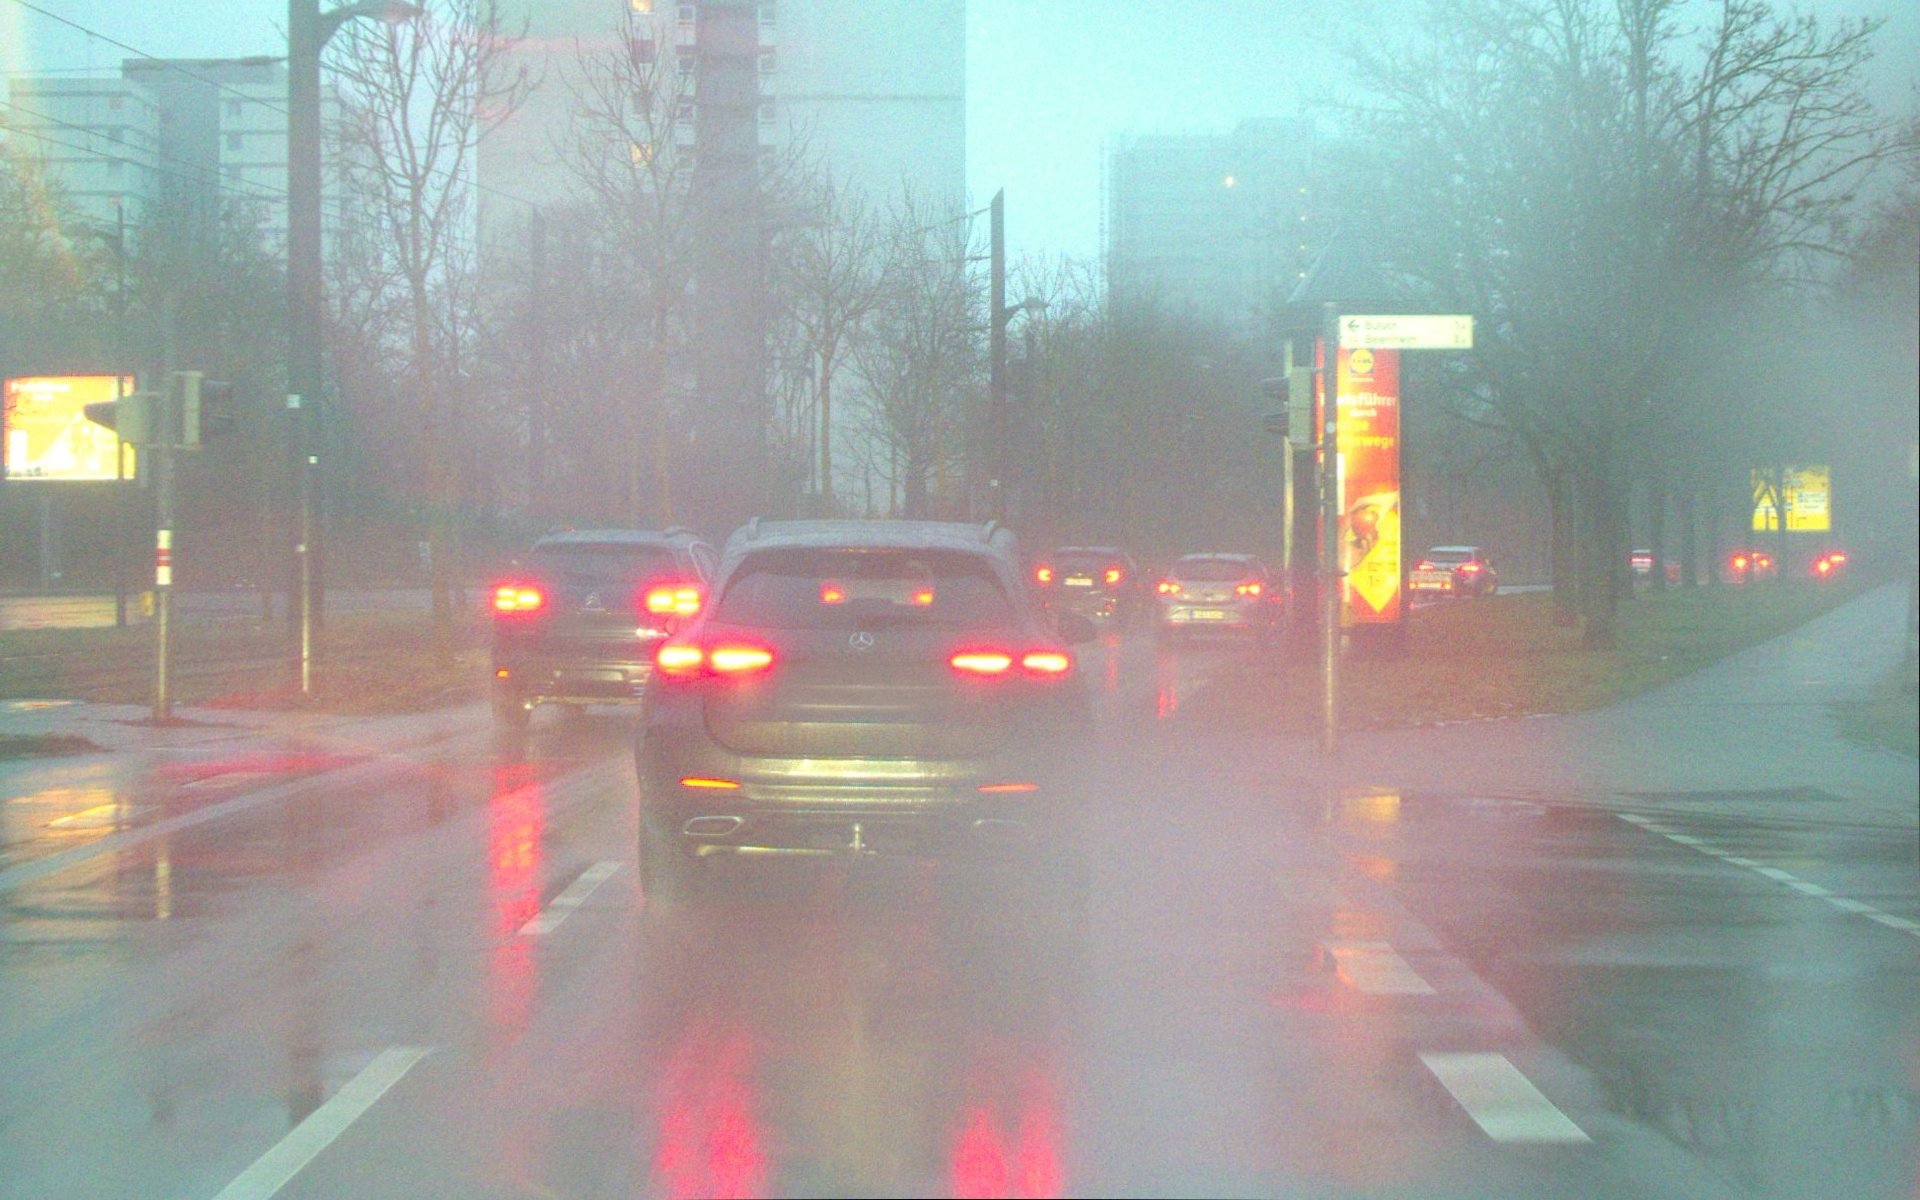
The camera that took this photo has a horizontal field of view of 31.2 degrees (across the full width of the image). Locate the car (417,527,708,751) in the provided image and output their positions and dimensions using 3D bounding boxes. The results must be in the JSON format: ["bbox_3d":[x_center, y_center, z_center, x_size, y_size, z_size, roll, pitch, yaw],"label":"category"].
[{"bbox_3d":[-3.287,0.311,29.219,1.993,1.706,4.325,2,0,-1],"label":"car"}]

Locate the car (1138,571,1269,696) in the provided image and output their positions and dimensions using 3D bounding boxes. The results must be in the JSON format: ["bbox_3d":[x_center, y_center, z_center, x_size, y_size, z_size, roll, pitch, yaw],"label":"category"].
[{"bbox_3d":[3.964,0.532,55.470,1.857,1.885,3.999,2,0,7],"label":"car"}]

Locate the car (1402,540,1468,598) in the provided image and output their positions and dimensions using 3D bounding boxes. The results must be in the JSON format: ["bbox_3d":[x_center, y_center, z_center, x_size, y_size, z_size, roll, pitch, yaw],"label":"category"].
[{"bbox_3d":[12.980,-0.830,94.024,1.535,1.508,3.342,2,0,4],"label":"car"}]

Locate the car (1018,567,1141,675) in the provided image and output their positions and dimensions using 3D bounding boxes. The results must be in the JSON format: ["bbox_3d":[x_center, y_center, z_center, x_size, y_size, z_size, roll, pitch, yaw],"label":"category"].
[{"bbox_3d":[2.241,0.392,63.621,1.773,1.885,3.641,2,0,9],"label":"car"}]

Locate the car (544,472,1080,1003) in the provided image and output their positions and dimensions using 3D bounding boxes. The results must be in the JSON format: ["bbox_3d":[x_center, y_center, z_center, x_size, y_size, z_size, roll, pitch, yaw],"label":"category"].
[{"bbox_3d":[-0.526,0.530,15.171,1.993,1.969,4.068,2,0,1],"label":"car"}]
